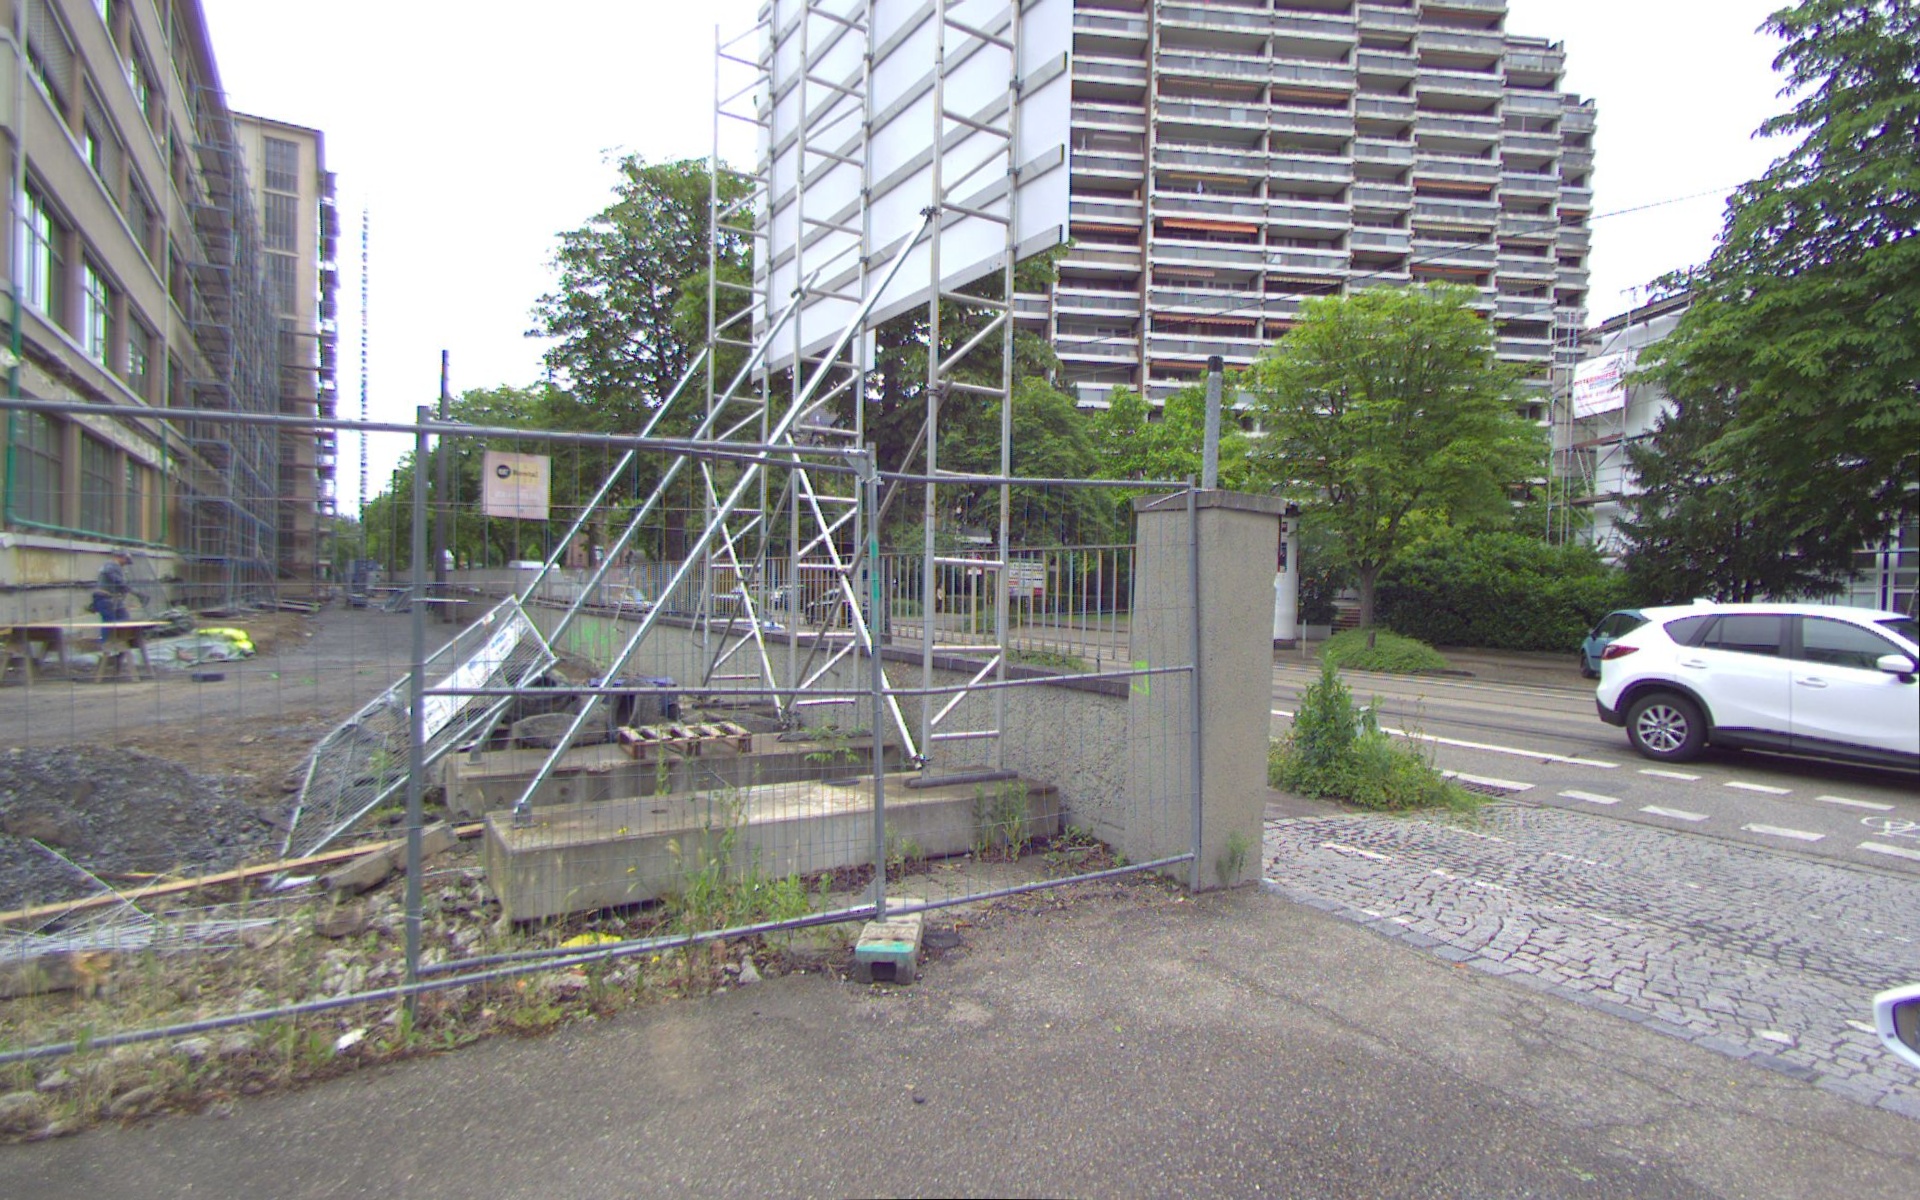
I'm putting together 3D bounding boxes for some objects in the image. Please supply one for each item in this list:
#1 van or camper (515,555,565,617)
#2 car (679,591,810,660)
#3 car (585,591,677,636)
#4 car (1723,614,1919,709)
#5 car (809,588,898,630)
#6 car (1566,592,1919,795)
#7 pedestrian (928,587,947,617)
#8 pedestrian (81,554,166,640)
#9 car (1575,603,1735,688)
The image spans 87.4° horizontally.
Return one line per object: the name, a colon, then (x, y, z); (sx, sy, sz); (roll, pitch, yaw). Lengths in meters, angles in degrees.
van or camper: (-20.103, -0.647, 47.978); (1.974, 2.789, 3.973); (1, 0, -26)
car: (-5.192, 0.559, 23.841); (1.813, 1.437, 3.965); (1, 0, -32)
car: (-10.859, 0.403, 32.978); (1.978, 1.328, 3.965); (1, 1, -32)
car: (15.712, 1.045, 18.341); (1.586, 1.531, 3.339); (2, 0, 14)
car: (-4.317, 0.341, 40.189); (1.805, 1.510, 4.215); (1, 0, -34)
car: (8.869, 0.831, 9.898); (1.978, 1.726, 4.560); (0, 1, -32)
pedestrian: (-1.165, 0.126, 52.817); (0.838, 1.548, 0.515); (1, 1, -44)
pedestrian: (-14.804, -0.047, 17.780); (0.916, 1.457, 0.979); (2, 0, 38)
car: (14.256, 0.861, 20.814); (1.586, 1.557, 3.339); (2, 0, 14)
